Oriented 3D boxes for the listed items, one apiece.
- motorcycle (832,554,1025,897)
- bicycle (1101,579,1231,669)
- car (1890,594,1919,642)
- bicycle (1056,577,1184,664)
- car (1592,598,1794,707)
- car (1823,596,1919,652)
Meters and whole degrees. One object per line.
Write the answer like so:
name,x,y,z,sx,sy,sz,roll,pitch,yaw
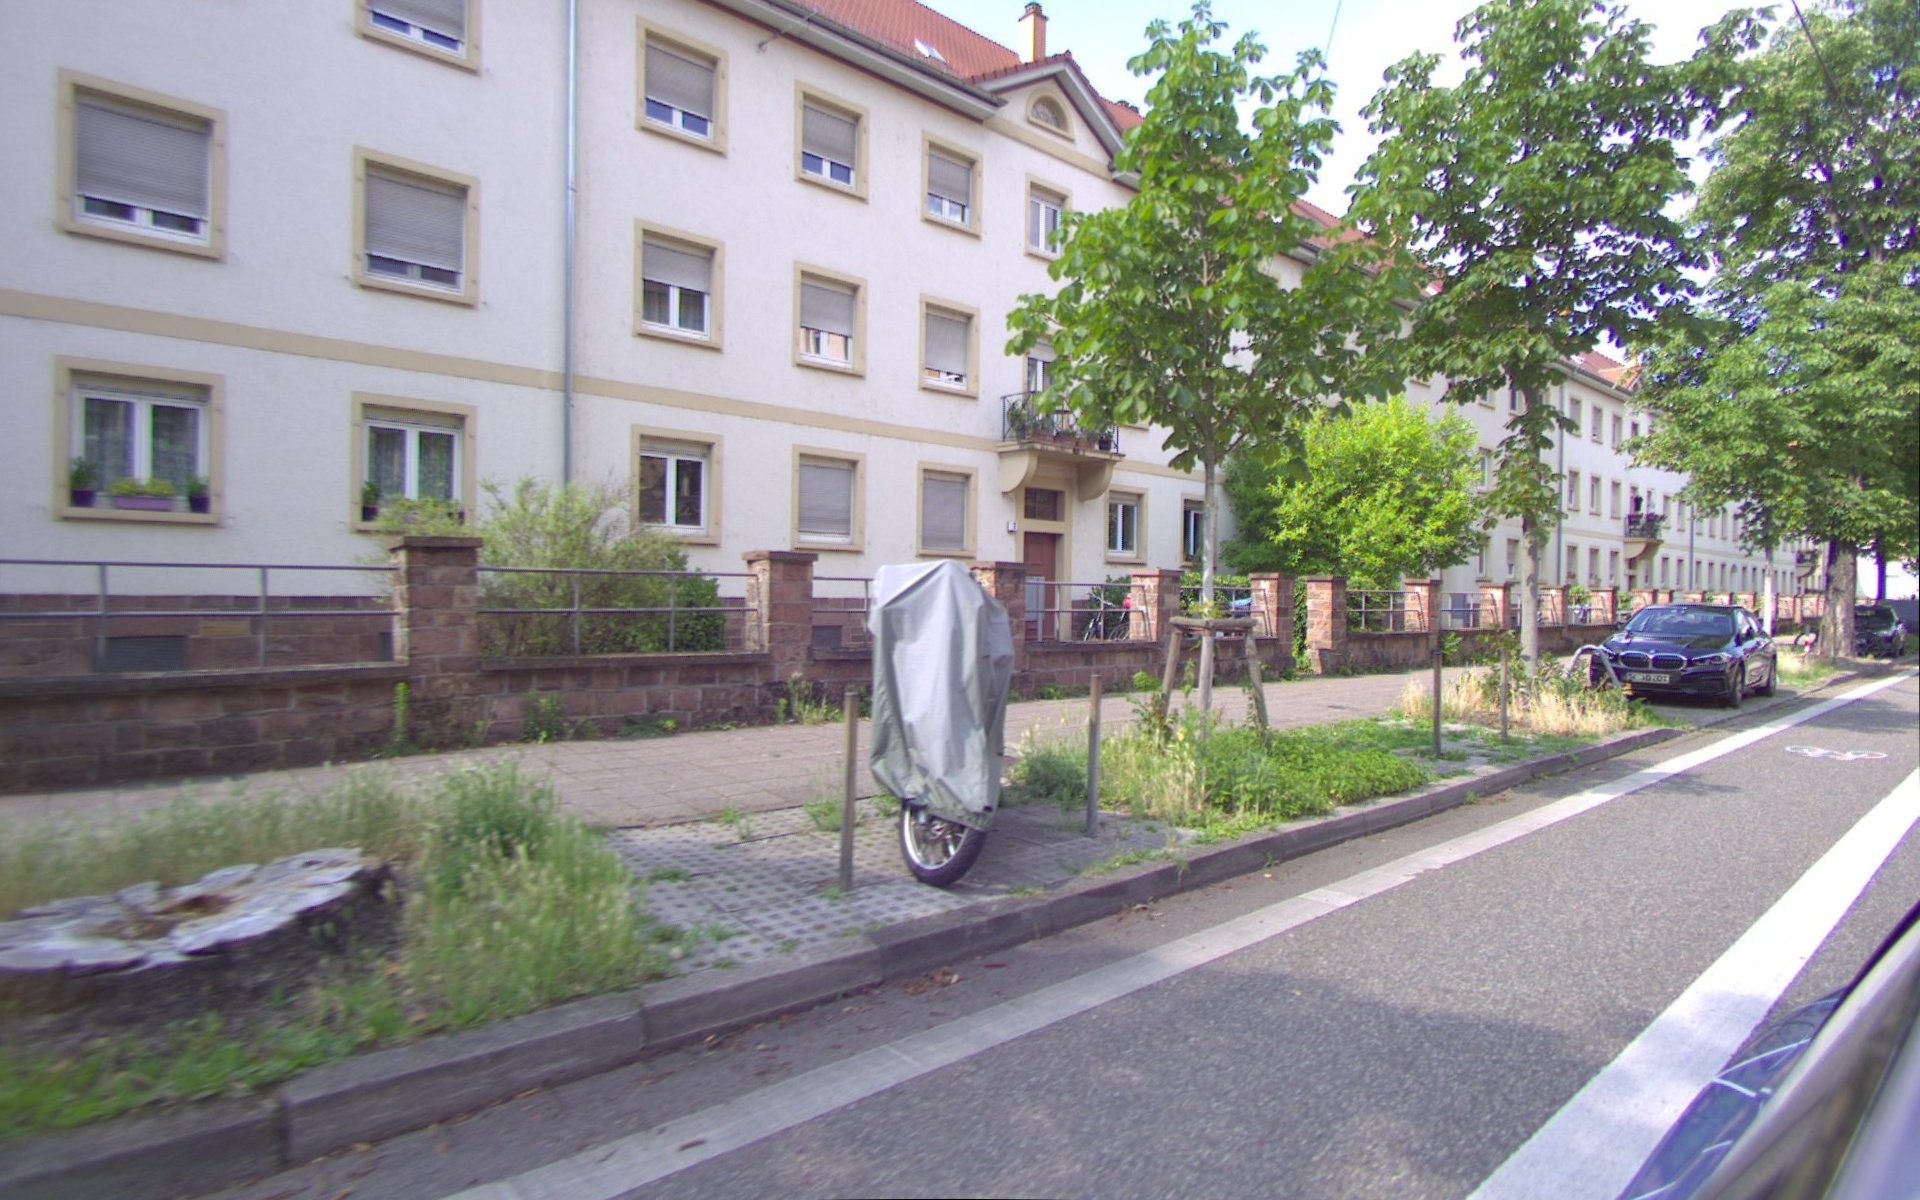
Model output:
motorcycle,-0.080,0.542,5.565,0.796,1.512,2.068,1,1,5
bicycle,3.083,0.330,15.018,2.194,1.252,0.691,0,1,-41
car,32.794,0.603,34.175,3.555,1.565,1.692,0,1,-42
bicycle,2.500,0.293,15.633,2.194,1.252,0.691,0,1,-41
car,11.189,0.696,15.357,3.931,1.405,1.692,0,1,-42
car,25.313,0.626,27.974,3.931,1.405,1.692,0,1,-42
